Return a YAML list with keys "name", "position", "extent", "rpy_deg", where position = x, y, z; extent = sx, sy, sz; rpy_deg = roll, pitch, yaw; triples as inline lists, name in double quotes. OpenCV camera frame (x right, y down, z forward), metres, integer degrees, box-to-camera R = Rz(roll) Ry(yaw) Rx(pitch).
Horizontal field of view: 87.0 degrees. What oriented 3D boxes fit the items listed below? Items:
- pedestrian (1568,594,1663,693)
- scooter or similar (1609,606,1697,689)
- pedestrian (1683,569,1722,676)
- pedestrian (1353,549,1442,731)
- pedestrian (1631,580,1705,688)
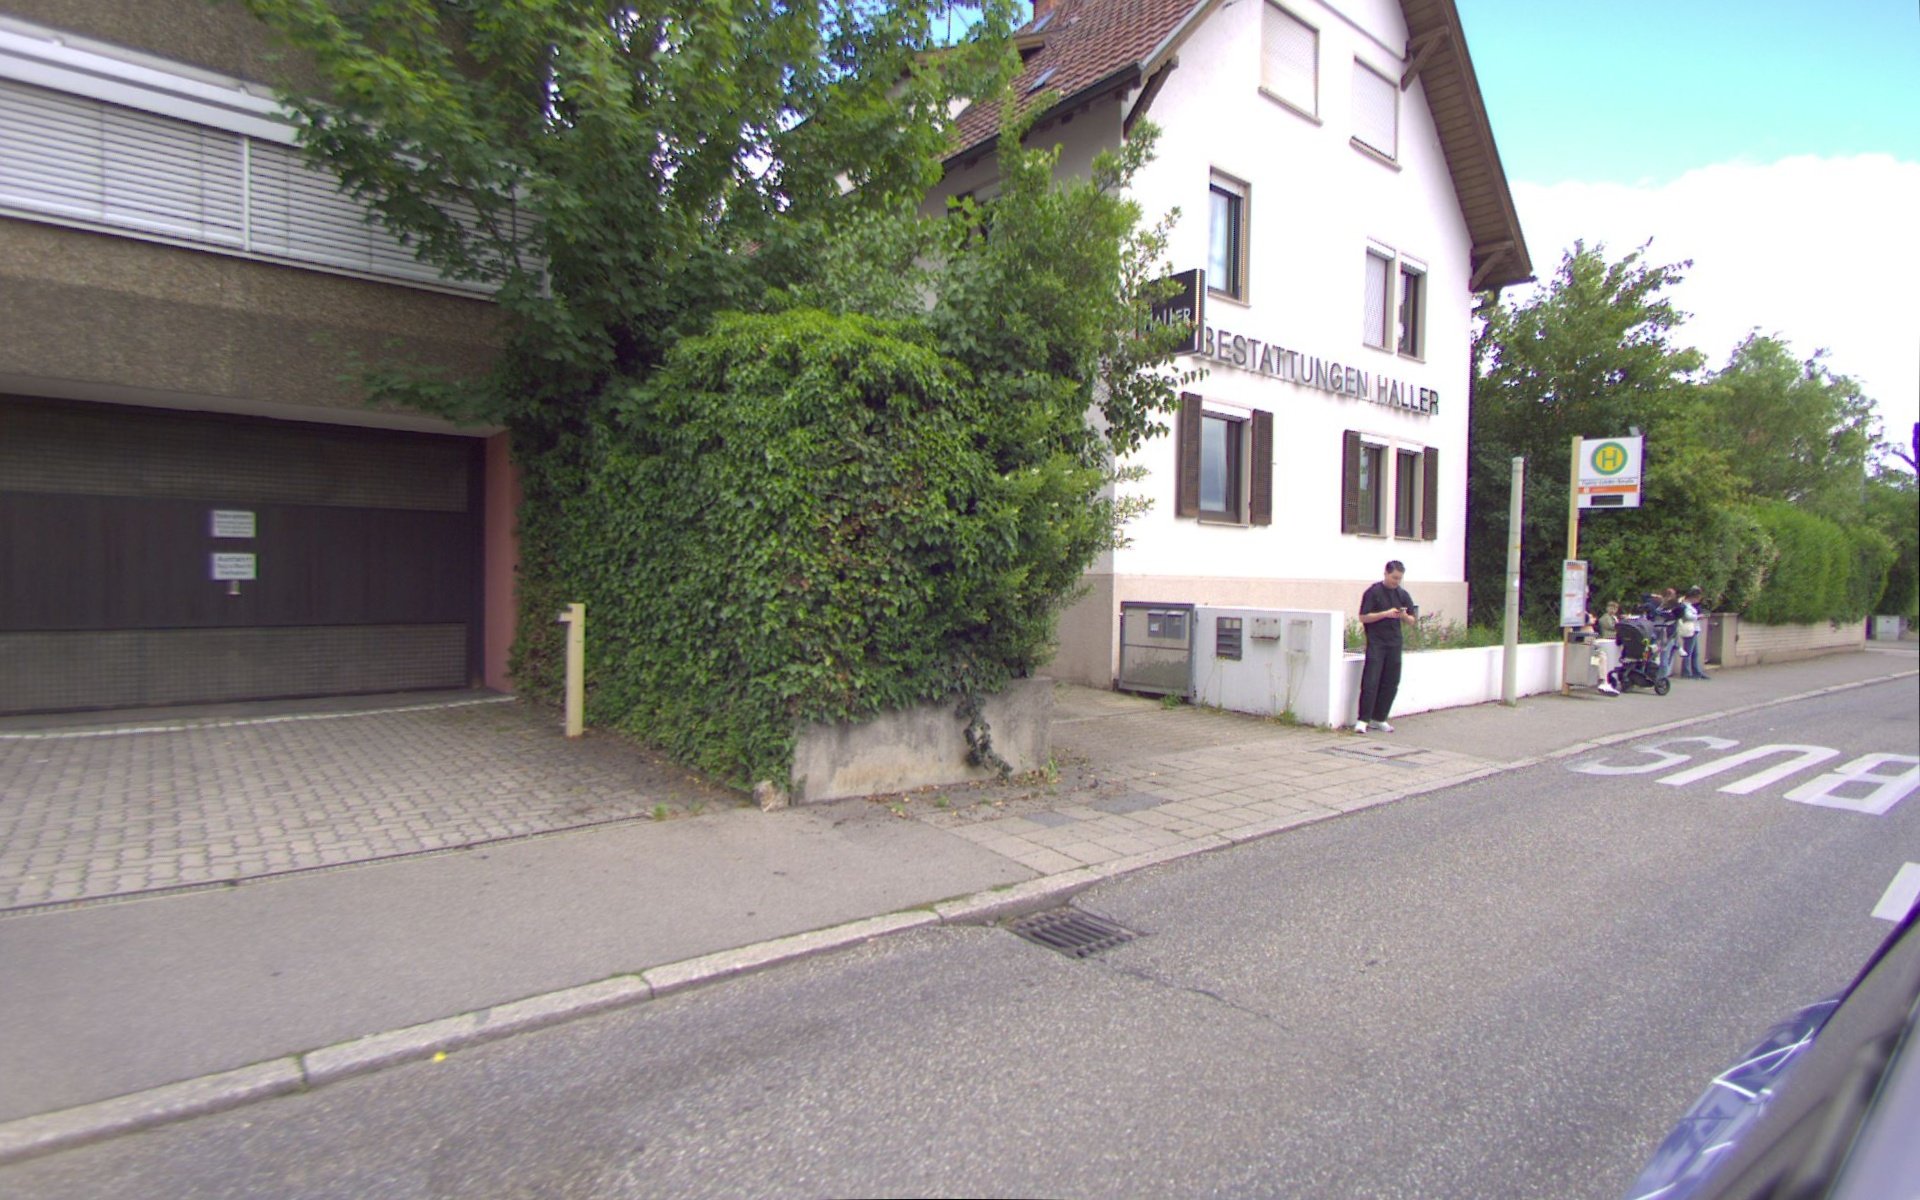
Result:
- name: "pedestrian"
  position: [9.264, 0.588, 14.298]
  extent: [0.777, 1.266, 0.914]
  rpy_deg: [0, 4, -45]
- name: "scooter or similar"
  position: [10.125, 0.690, 14.799]
  extent: [0.843, 1.110, 0.479]
  rpy_deg: [3, 3, 3]
- name: "pedestrian"
  position: [12.653, 0.370, 17.247]
  extent: [0.488, 1.776, 0.344]
  rpy_deg: [-1, 4, -44]
- name: "pedestrian"
  position: [4.433, 0.391, 10.276]
  extent: [0.657, 1.789, 0.491]
  rpy_deg: [0, 0, -8]
- name: "pedestrian"
  position: [10.745, 0.492, 15.364]
  extent: [0.735, 1.553, 0.661]
  rpy_deg: [0, 4, -41]
